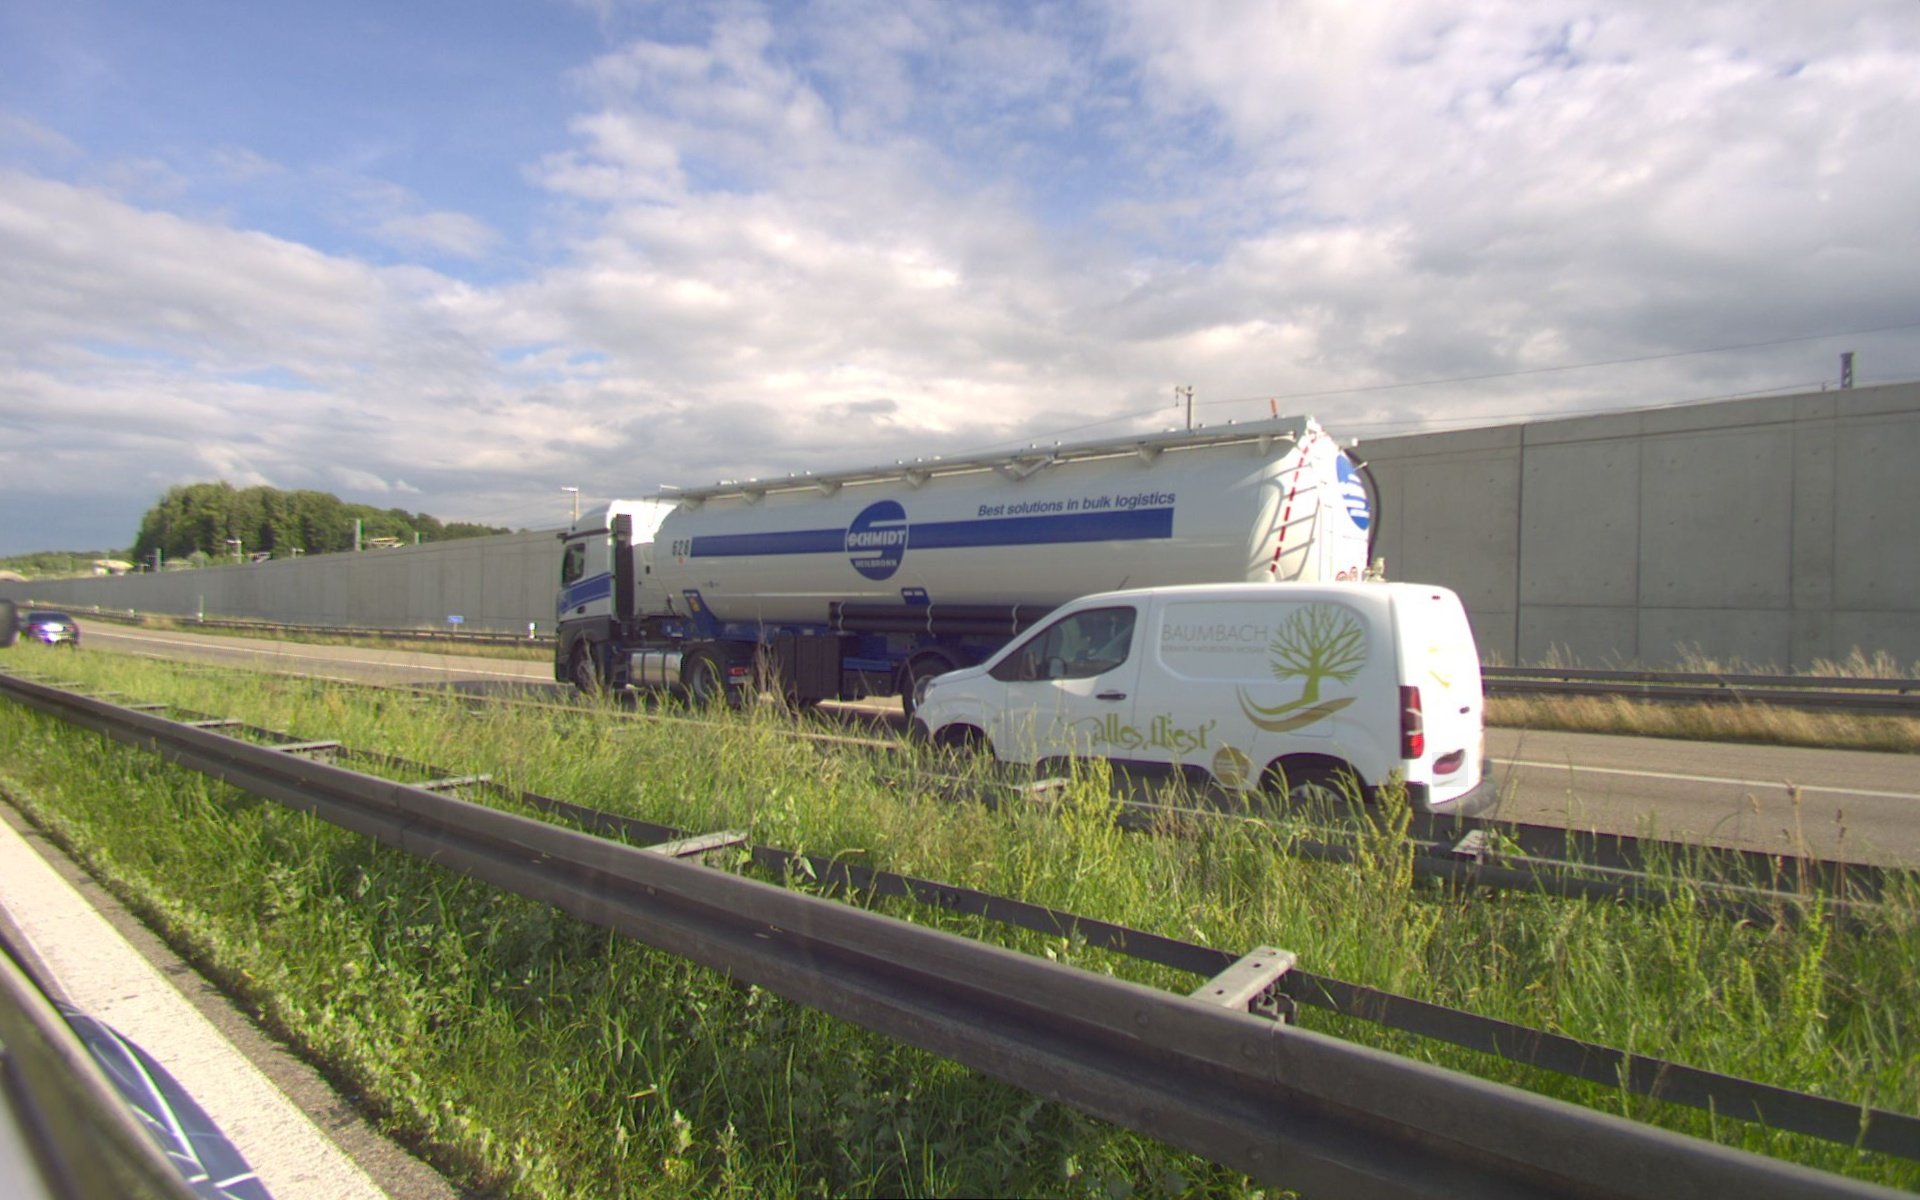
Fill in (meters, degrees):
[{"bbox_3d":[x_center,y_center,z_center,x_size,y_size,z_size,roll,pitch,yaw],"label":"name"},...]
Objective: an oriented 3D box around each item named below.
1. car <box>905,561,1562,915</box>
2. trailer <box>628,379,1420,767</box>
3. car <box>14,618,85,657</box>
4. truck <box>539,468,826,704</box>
[{"bbox_3d":[1.766,0.726,7.401,4.279,1.847,1.840,-1,0,41],"label":"car"},{"bbox_3d":[-0.222,-0.201,14.873,12.529,3.799,2.515,0,-2,40],"label":"trailer"},{"bbox_3d":[-39.161,1.562,43.502,4.689,1.528,1.784,-1,0,42],"label":"car"},{"bbox_3d":[-5.350,-0.183,19.140,5.412,3.827,2.527,0,-2,39],"label":"truck"}]
